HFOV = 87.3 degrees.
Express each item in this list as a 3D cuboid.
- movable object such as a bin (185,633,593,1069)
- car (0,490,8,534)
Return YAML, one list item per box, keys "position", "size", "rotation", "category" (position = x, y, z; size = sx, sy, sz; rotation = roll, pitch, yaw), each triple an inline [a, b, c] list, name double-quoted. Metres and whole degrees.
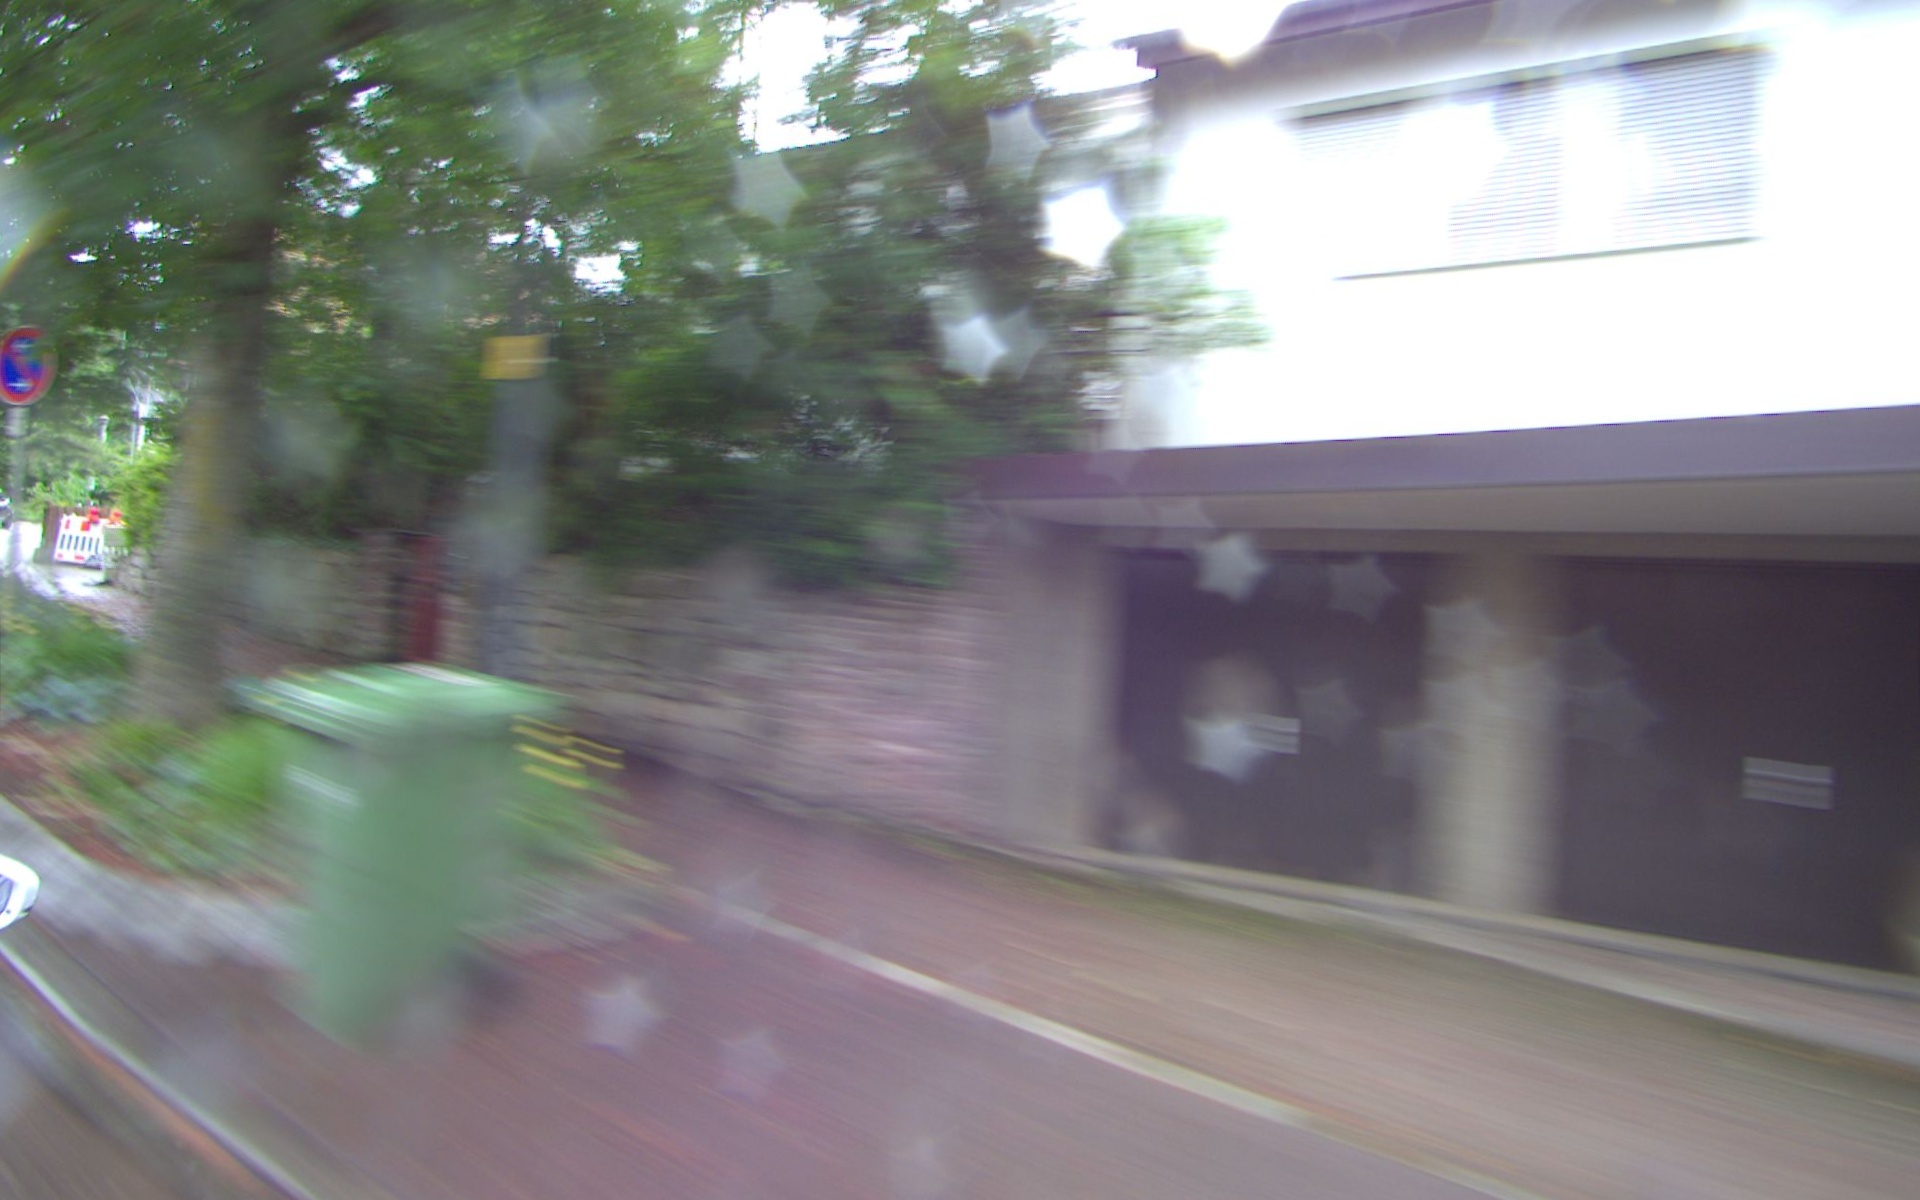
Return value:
- position: [-1.866, 0.721, 3.326]
  size: [0.869, 1.121, 0.770]
  rotation: [6, 1, 30]
  category: "movable object such as a bin"
- position: [-41.156, -3.813, 41.613]
  size: [1.824, 1.872, 3.964]
  rotation: [7, -2, -34]
  category: "car"
